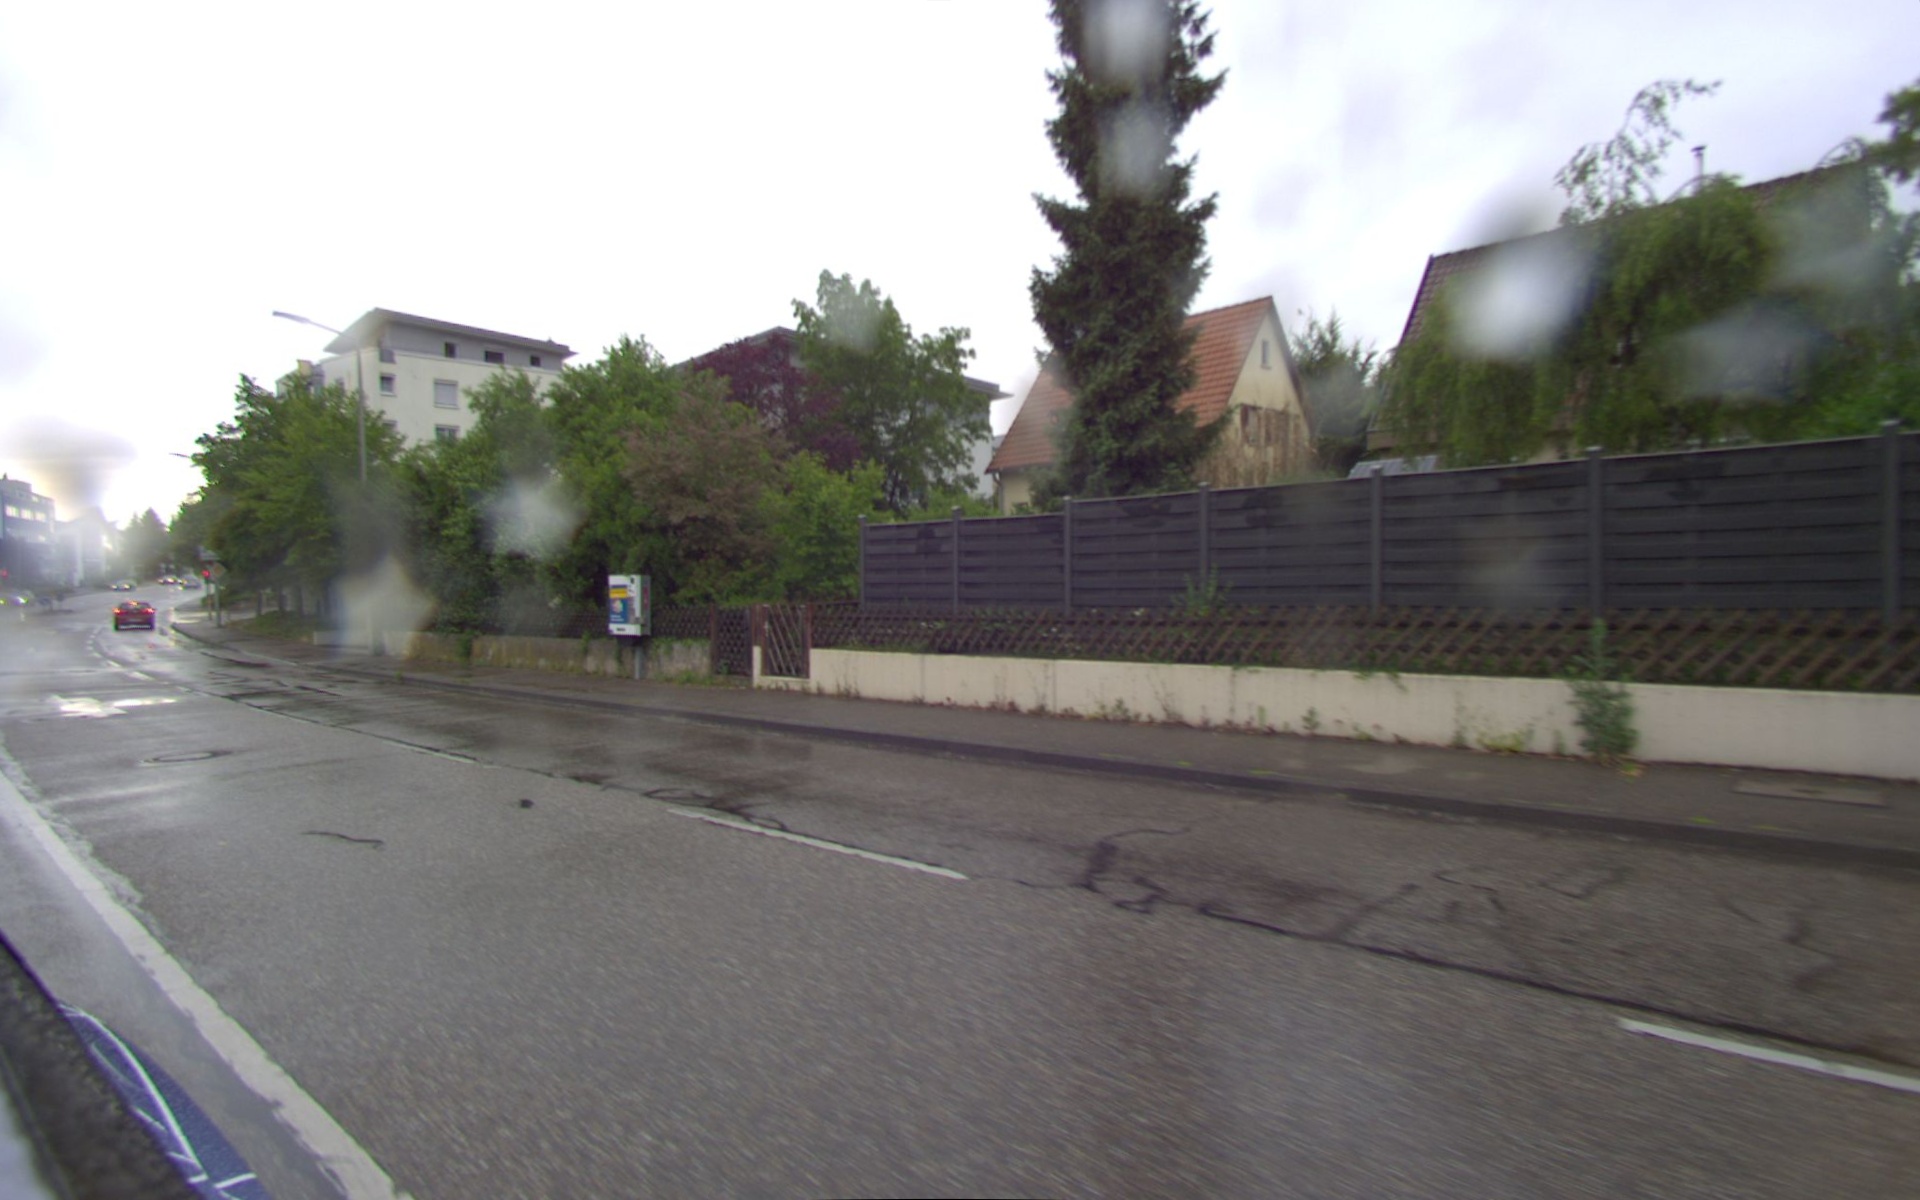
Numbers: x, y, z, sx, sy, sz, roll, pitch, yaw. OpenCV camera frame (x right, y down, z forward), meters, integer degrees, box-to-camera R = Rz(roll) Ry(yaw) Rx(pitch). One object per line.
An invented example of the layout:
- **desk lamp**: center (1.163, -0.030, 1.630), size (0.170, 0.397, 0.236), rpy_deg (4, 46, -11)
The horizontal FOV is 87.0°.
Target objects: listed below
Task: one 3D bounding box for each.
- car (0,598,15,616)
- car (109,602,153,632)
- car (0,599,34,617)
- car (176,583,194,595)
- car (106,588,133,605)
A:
- **car**: center (-84.618, 0.593, 88.898), size (1.726, 1.489, 4.010), rpy_deg (-3, 2, -36)
- **car**: center (-44.996, 0.911, 54.931), size (1.753, 1.518, 4.111), rpy_deg (1, 0, -39)
- **car**: center (-88.974, 0.764, 95.379), size (1.868, 1.556, 4.032), rpy_deg (-3, 2, -34)
- **car**: center (-111.073, -1.624, 145.023), size (1.666, 1.566, 3.918), rpy_deg (-4, 4, -32)
- **car**: center (-114.590, -0.549, 137.992), size (1.967, 2.028, 4.012), rpy_deg (-6, 5, -30)
